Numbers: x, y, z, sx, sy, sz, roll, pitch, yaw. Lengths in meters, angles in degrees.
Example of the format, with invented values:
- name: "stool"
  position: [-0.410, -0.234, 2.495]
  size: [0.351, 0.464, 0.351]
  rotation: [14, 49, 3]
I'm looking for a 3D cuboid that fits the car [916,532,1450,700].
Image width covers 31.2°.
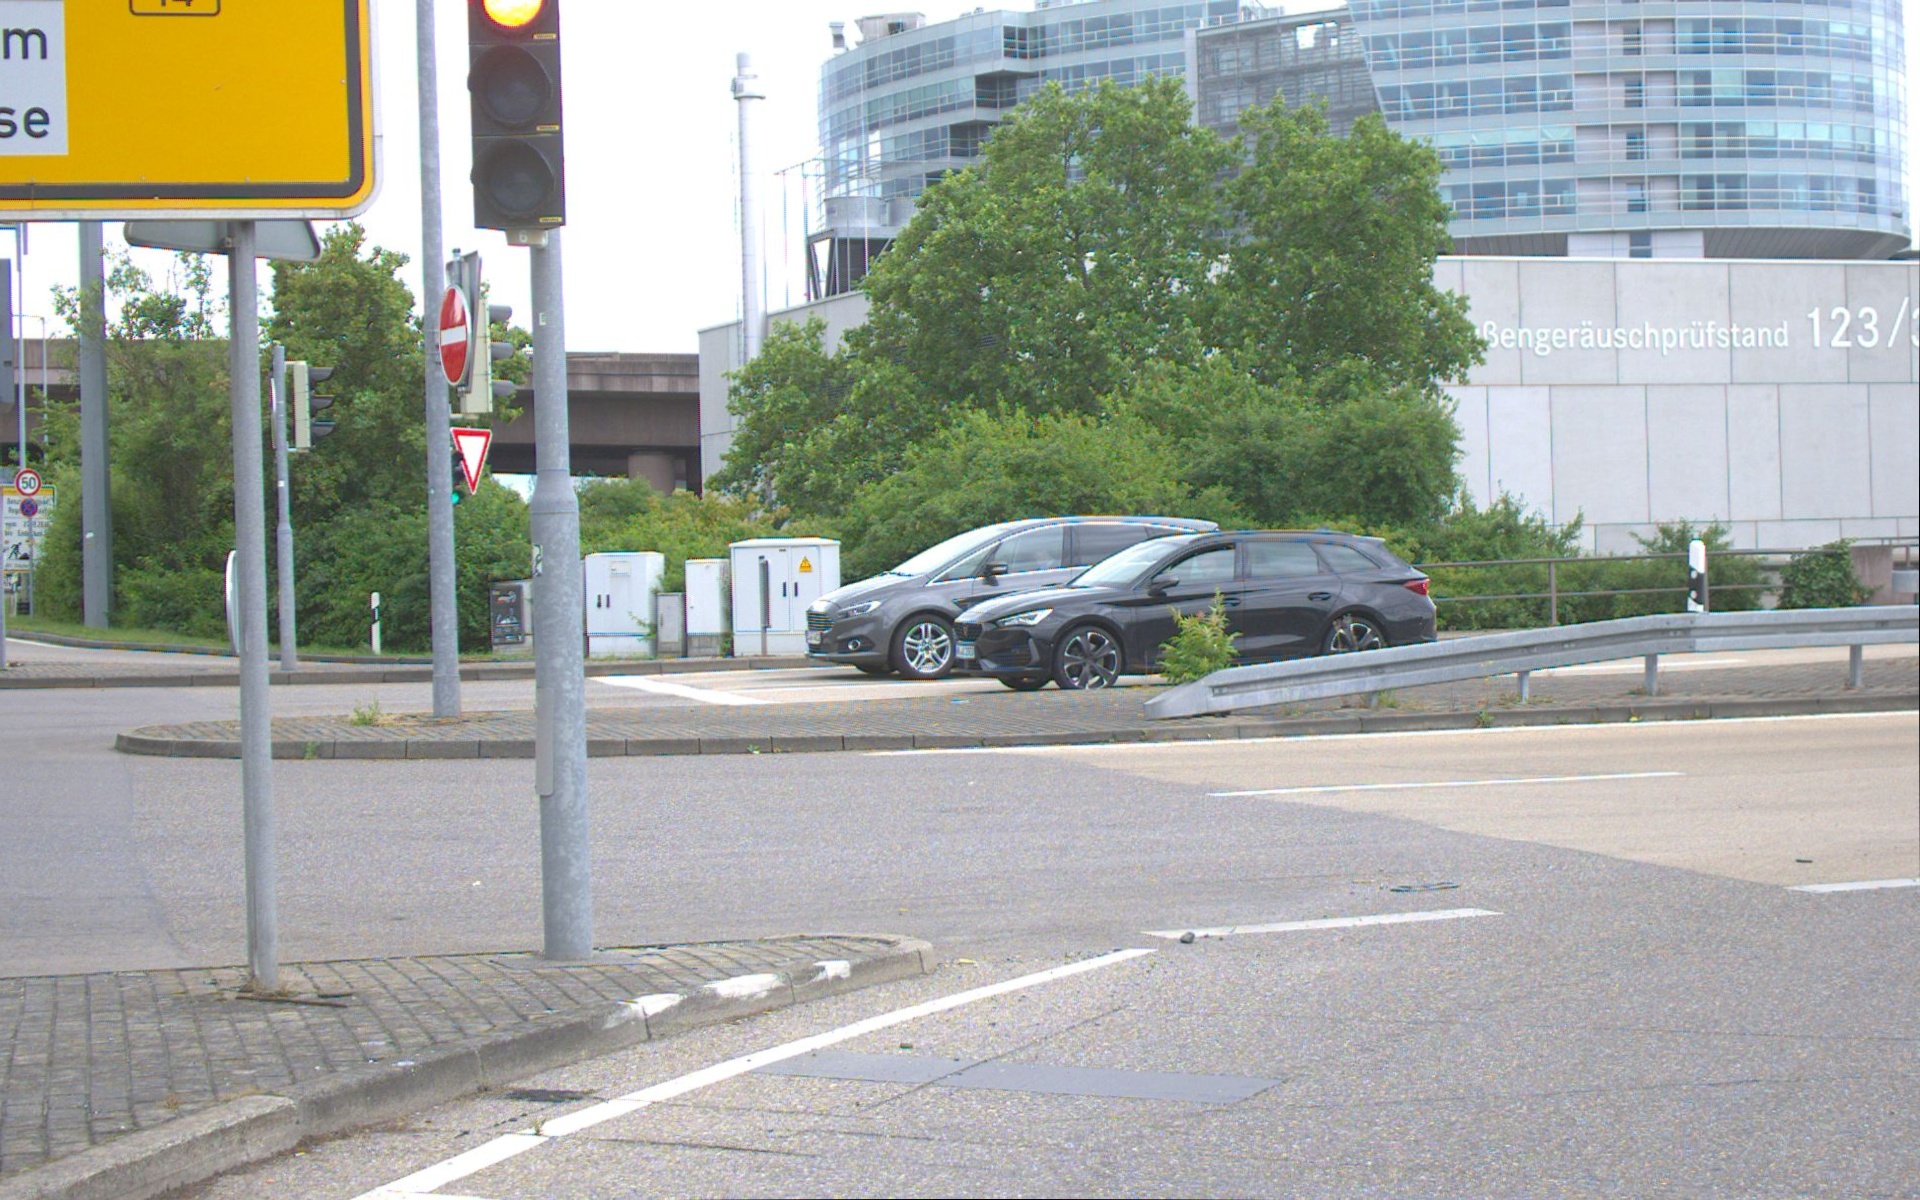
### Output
- name: "car"
  position: [2.088, 0.111, 32.283]
  size: [4.604, 1.452, 1.956]
  rotation: [-1, 2, -21]

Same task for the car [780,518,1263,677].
- name: "car"
  position: [0.632, -0.067, 36.073]
  size: [4.677, 1.566, 1.956]
  rotation: [0, 2, -18]
